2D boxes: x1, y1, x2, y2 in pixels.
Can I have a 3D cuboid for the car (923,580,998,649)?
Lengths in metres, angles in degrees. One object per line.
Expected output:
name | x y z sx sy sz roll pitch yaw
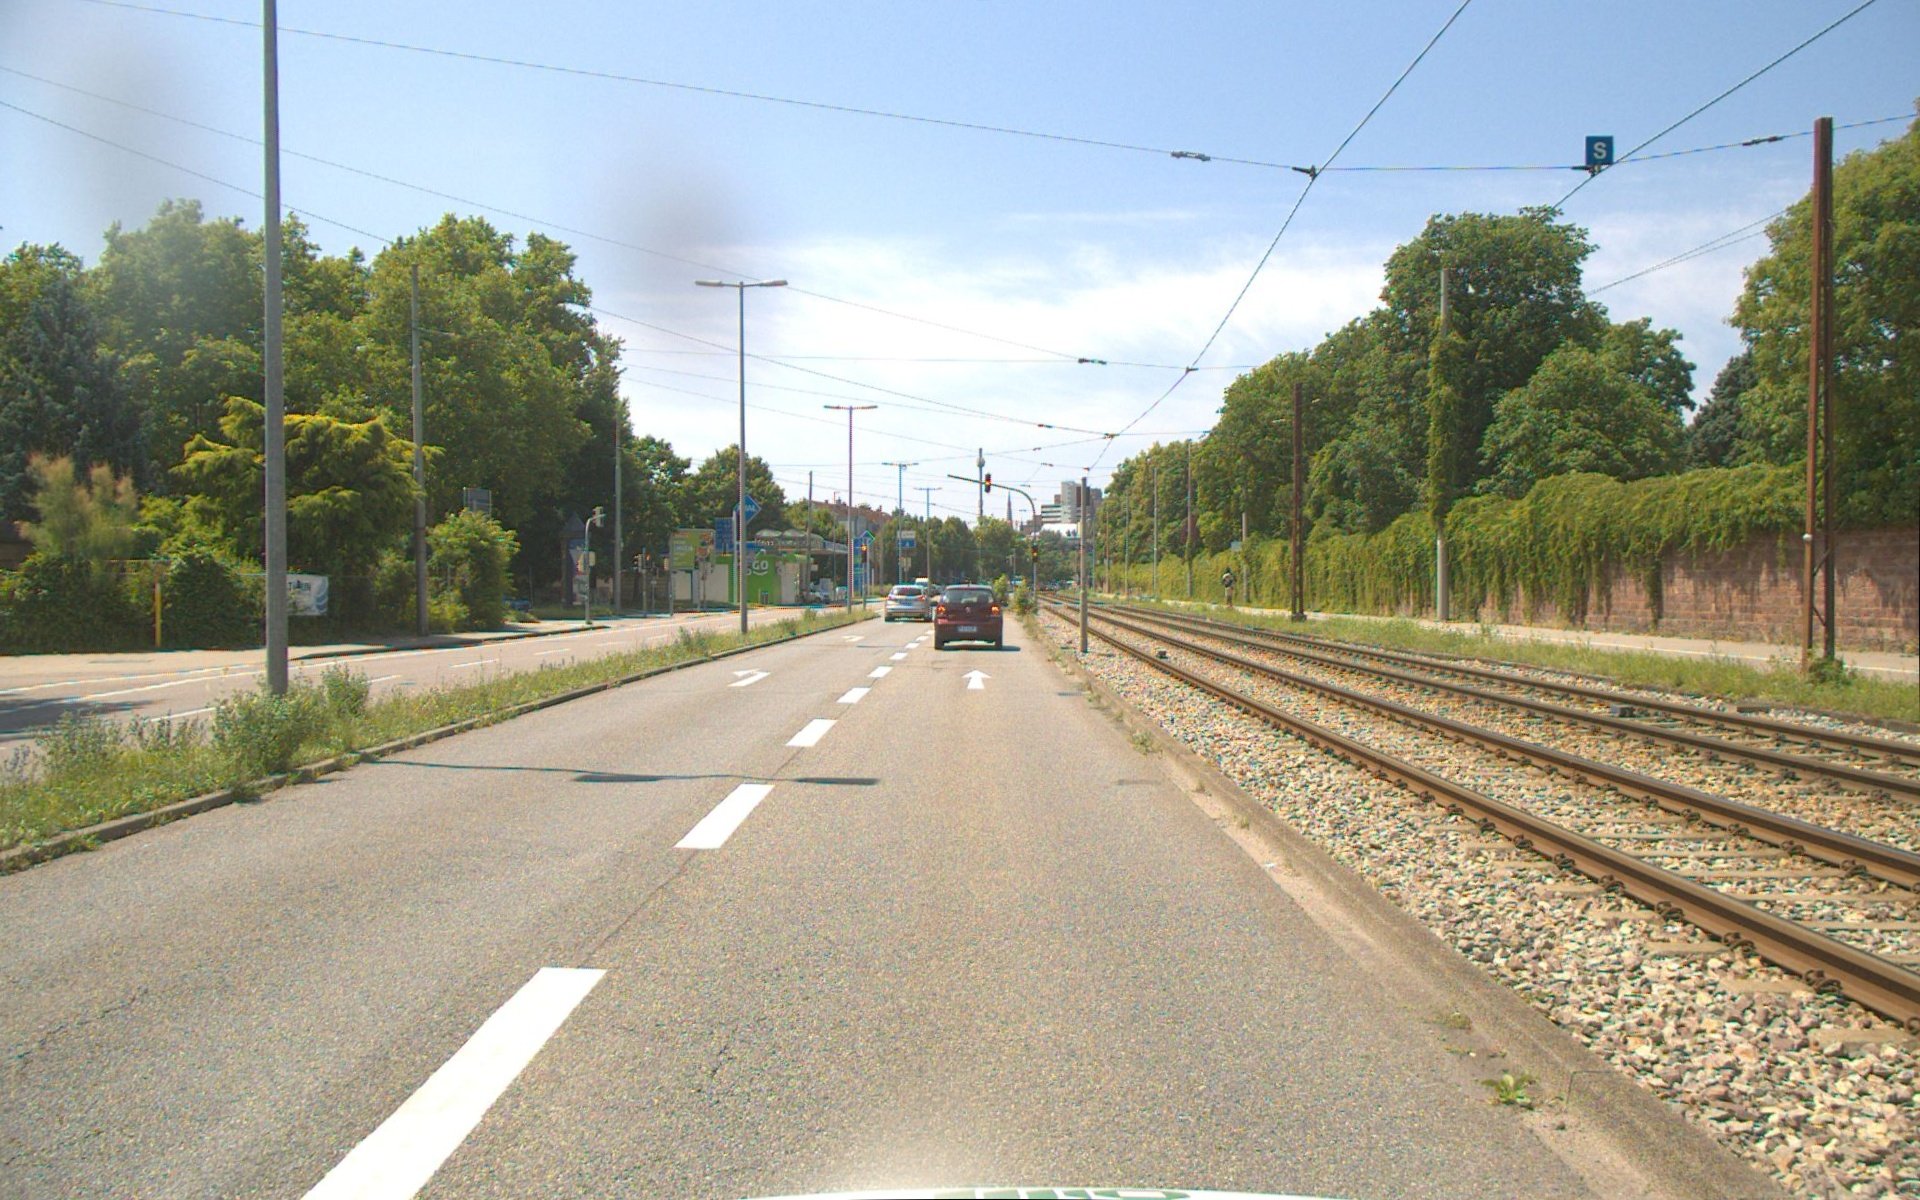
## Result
car | 0.032 0.308 39.103 1.668 1.503 3.717 1 1 1

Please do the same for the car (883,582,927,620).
car | -2.247 0.054 67.354 1.669 1.506 3.713 0 0 -4

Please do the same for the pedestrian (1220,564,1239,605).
pedestrian | 11.775 -0.681 72.269 0.648 1.756 0.816 -1 0 0

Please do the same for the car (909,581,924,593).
car | -5.922 -1.769 225.617 1.954 1.624 3.997 1 0 -4

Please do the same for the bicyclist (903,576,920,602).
bicyclist | -3.064 -0.672 105.133 0.926 1.621 1.085 1 -1 -8

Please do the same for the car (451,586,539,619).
car | -23.458 0.106 83.475 3.902 1.607 1.773 -1 1 12

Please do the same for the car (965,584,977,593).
car | 1.723 -1.772 258.386 1.701 1.443 4.001 -1 1 2
